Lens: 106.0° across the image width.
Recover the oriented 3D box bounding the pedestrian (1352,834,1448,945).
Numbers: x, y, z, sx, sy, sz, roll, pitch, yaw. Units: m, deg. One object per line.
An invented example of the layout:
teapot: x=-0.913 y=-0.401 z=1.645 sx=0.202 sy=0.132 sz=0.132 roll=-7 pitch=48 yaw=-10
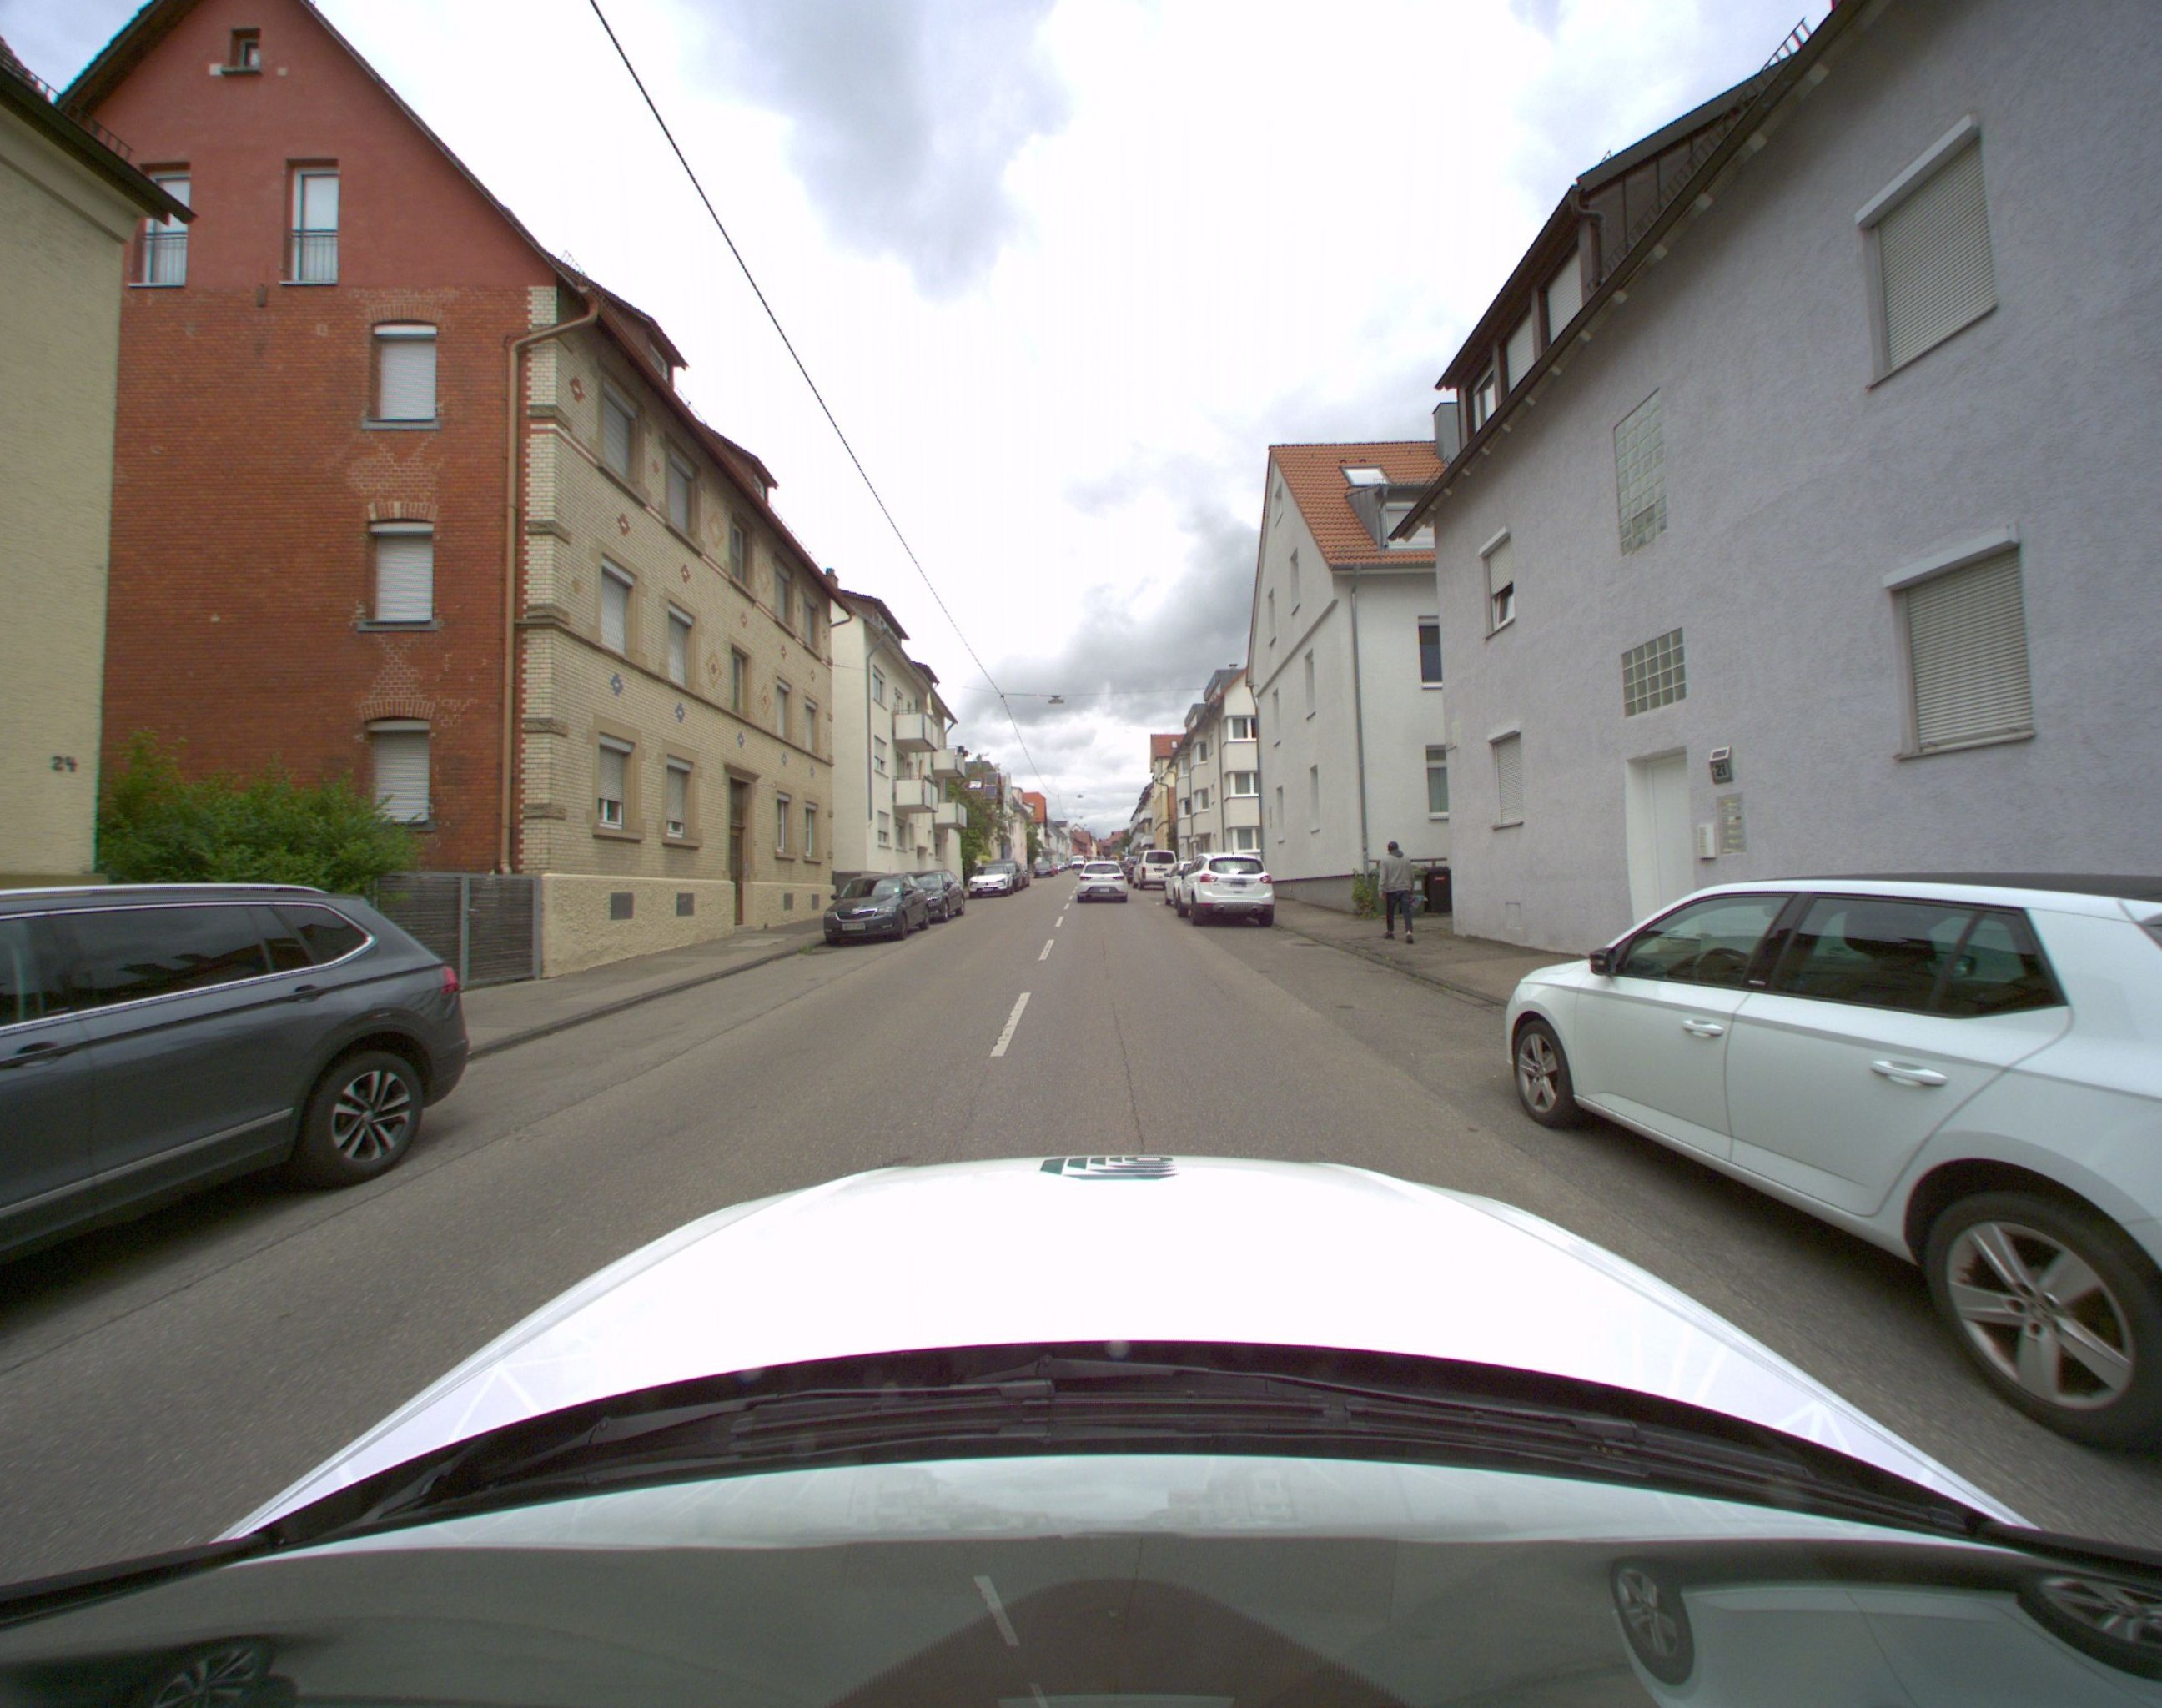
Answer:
pedestrian: x=5.477 y=0.588 z=14.115 sx=0.973 sy=1.739 sz=1.533 roll=-4 pitch=-1 yaw=2

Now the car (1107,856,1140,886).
car: x=3.033 y=1.198 z=59.118 sx=1.989 sy=2.014 sz=3.996 roll=-2 pitch=-1 yaw=-2

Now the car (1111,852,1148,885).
car: x=3.081 y=0.914 z=52.487 sx=1.989 sy=2.014 sz=3.996 roll=-2 pitch=-1 yaw=-2

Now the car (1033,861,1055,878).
car: x=-3.741 y=1.570 z=82.766 sx=1.987 sy=1.651 sz=4.179 roll=-2 pitch=-1 yaw=1

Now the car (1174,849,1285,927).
car: x=3.479 y=0.758 z=19.844 sx=1.935 sy=1.693 sz=3.999 roll=1 pitch=-1 yaw=-1

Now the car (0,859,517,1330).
car: x=-4.828 y=0.925 z=3.168 sx=1.987 sy=1.651 sz=4.552 roll=-5 pitch=-1 yaw=0

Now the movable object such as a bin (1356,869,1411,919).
movable object such as a bin: x=7.000 y=0.911 z=18.897 sx=0.883 sy=1.062 sz=1.218 roll=-2 pitch=-1 yaw=5

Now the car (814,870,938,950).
car: x=-4.575 y=1.186 z=18.807 sx=1.636 sy=1.473 sz=4.179 roll=-5 pitch=-1 yaw=1

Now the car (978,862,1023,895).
car: x=-4.315 y=1.303 z=44.243 sx=1.987 sy=1.651 sz=4.000 roll=-2 pitch=-1 yaw=1

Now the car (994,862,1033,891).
car: x=-4.190 y=1.388 z=50.798 sx=1.987 sy=1.651 sz=4.000 roll=-2 pitch=-1 yaw=1

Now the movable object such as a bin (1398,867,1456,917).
movable object such as a bin: x=7.947 y=0.858 z=18.777 sx=0.883 sy=1.062 sz=1.218 roll=-2 pitch=-1 yaw=5

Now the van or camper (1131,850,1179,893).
van or camper: x=3.714 y=0.850 z=41.830 sx=1.935 sy=2.055 sz=4.560 roll=-1 pitch=-1 yaw=-1

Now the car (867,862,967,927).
car: x=-4.630 y=1.099 z=23.594 sx=1.987 sy=1.651 sz=4.000 roll=-2 pitch=-1 yaw=1

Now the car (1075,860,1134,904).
car: x=0.818 y=0.949 z=29.263 sx=1.934 sy=1.439 sz=4.000 roll=-1 pitch=-1 yaw=1

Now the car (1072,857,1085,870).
car: x=-0.434 y=1.561 z=131.871 sx=1.987 sy=2.014 sz=4.000 roll=-2 pitch=-1 yaw=1

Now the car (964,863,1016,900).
car: x=-4.341 y=1.274 z=39.390 sx=1.987 sy=1.651 sz=4.000 roll=-2 pitch=-1 yaw=1

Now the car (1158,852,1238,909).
car: x=3.704 y=0.813 z=26.468 sx=1.935 sy=1.693 sz=3.997 roll=-1 pitch=-1 yaw=-1

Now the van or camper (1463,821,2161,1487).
van or camper: x=3.360 y=0.713 z=3.582 sx=1.596 sy=1.543 sz=4.001 roll=0 pitch=-1 yaw=2
